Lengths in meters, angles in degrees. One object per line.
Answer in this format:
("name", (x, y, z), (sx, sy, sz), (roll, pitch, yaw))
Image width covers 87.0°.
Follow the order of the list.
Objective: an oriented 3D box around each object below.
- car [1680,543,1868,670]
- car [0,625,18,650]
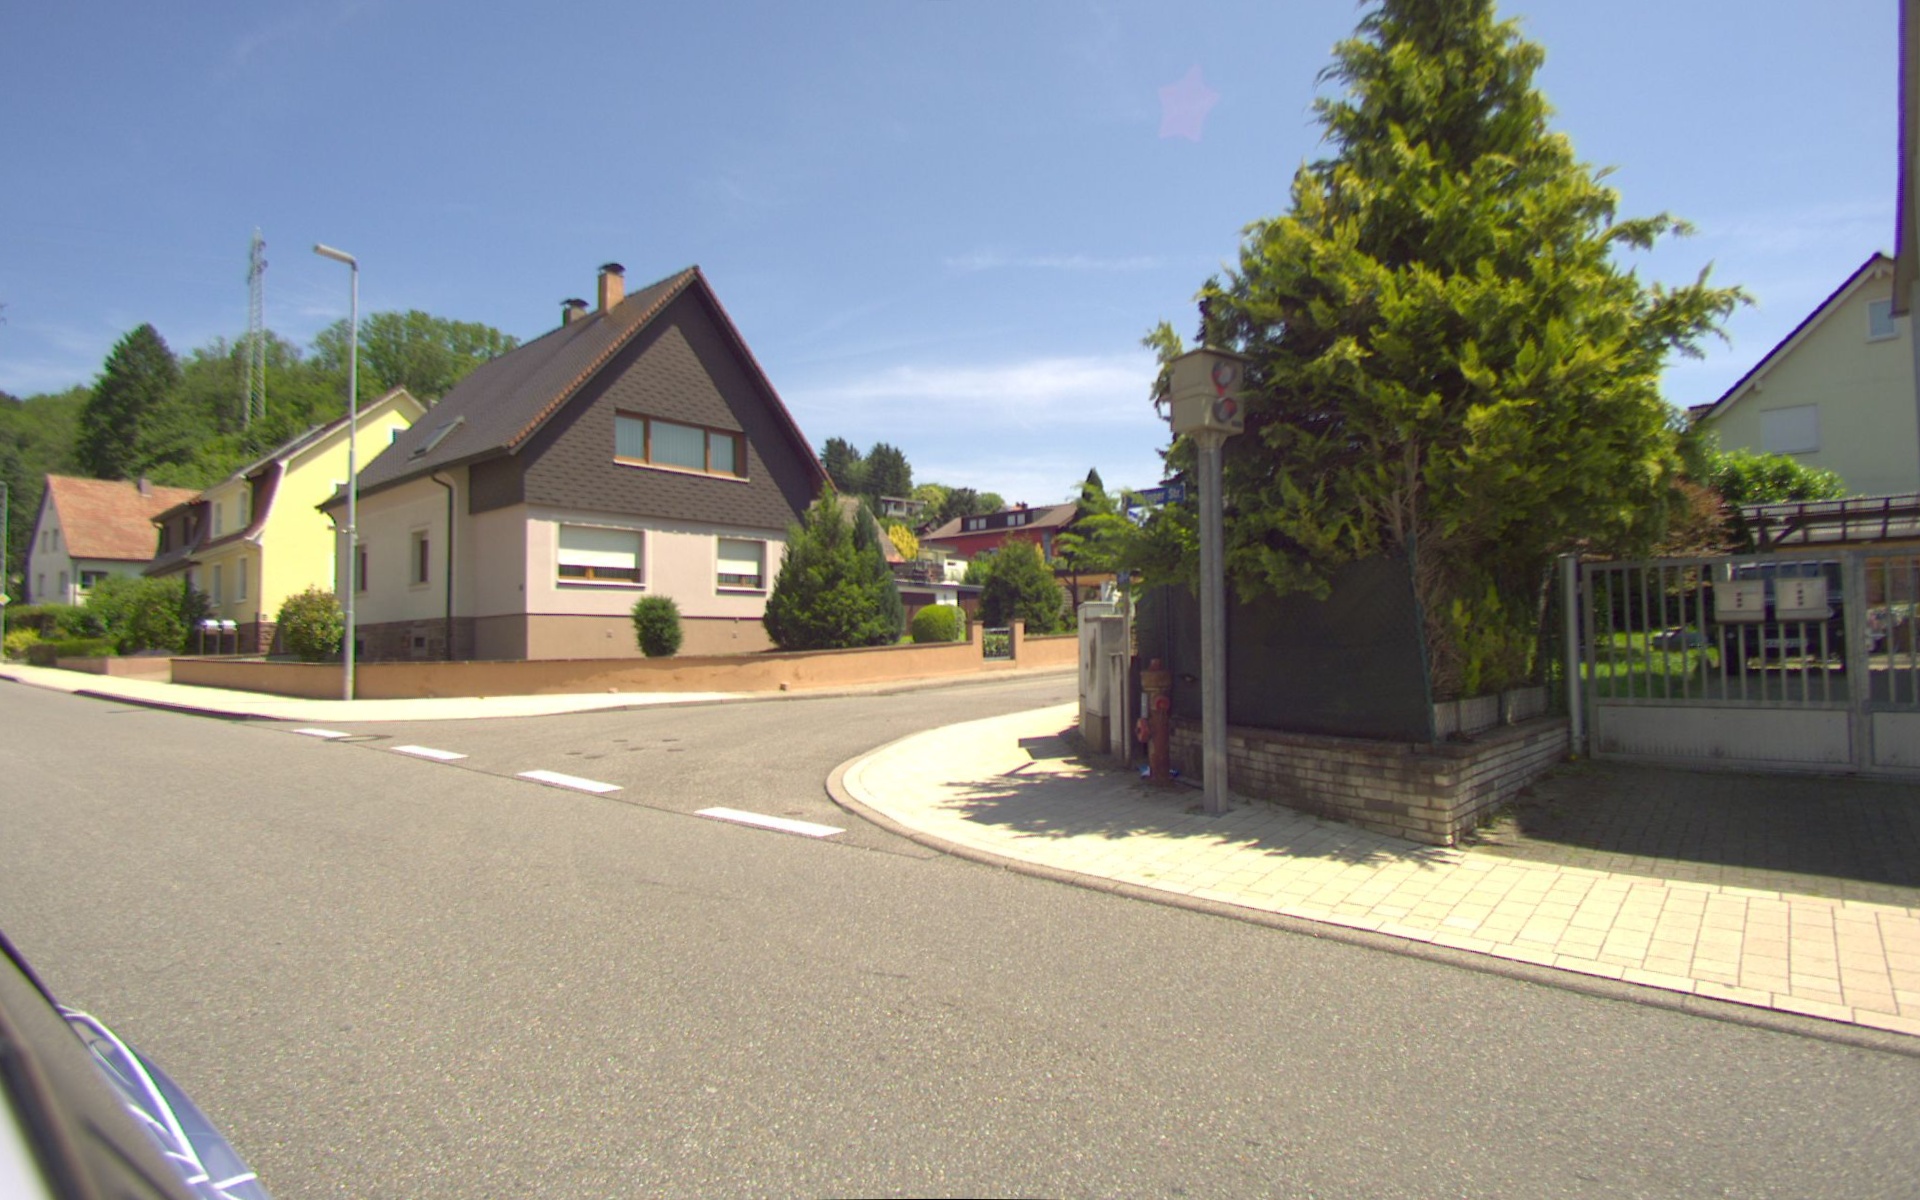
("car", (12.662, 0.122, 15.685), (1.999, 1.682, 4.297), (-2, -2, 41))
("car", (-70.829, 2.747, 72.934), (1.796, 1.803, 3.977), (-1, -2, 17))
